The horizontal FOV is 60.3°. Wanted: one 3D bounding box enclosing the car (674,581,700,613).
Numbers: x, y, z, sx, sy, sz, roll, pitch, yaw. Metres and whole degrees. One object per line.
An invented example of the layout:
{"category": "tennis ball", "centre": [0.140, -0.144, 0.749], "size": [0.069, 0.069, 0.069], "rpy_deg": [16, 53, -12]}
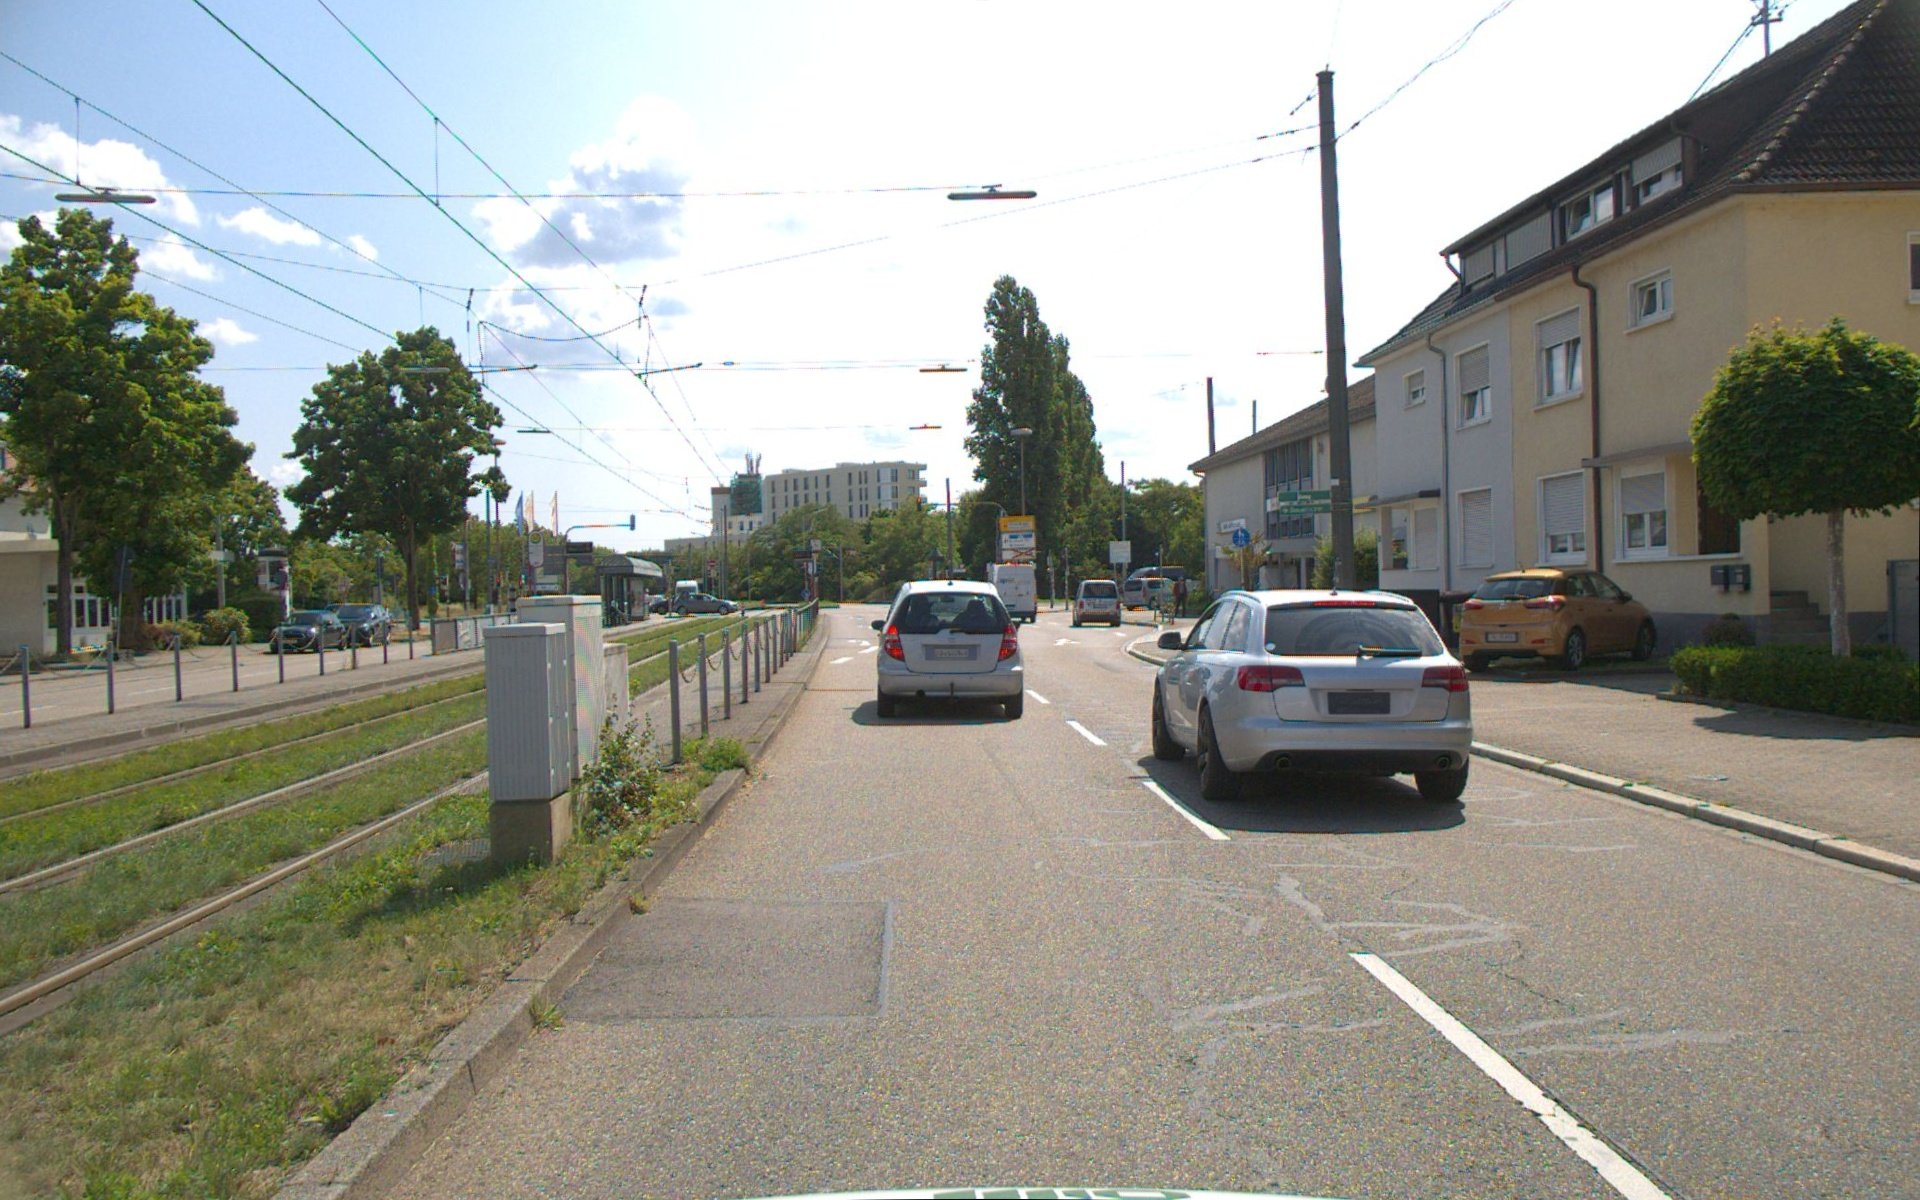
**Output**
{"category": "car", "centre": [-23.315, -0.274, 141.457], "size": [1.955, 2.651, 4.871], "rpy_deg": [1, 0, -7]}

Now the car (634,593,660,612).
{"category": "car", "centre": [-25.794, 0.225, 136.403], "size": [1.861, 1.568, 3.722], "rpy_deg": [1, 0, -8]}

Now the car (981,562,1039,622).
{"category": "car", "centre": [2.225, -0.341, 74.745], "size": [2.001, 2.602, 5.226], "rpy_deg": [-1, 0, -5]}

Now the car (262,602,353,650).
{"category": "car", "centre": [-22.874, 0.881, 58.113], "size": [1.750, 1.612, 3.928], "rpy_deg": [-1, 0, -3]}

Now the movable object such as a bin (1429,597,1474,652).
{"category": "movable object such as a bin", "centre": [9.508, 0.468, 32.013], "size": [0.625, 1.066, 0.684], "rpy_deg": [0, 0, -5]}

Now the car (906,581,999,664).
{"category": "car", "centre": [-0.181, 0.401, 32.545], "size": [1.703, 1.518, 4.628], "rpy_deg": [0, 0, -1]}

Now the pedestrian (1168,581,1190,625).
{"category": "pedestrian", "centre": [9.287, 0.122, 70.133], "size": [0.707, 1.814, 0.702], "rpy_deg": [-3, 0, -2]}

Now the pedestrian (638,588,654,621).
{"category": "pedestrian", "centre": [-17.705, 0.246, 93.238], "size": [0.795, 1.826, 0.705], "rpy_deg": [-1, 0, -18]}

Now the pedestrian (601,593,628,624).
{"category": "pedestrian", "centre": [-15.628, 0.386, 74.837], "size": [1.038, 1.400, 0.859], "rpy_deg": [1, -1, -5]}

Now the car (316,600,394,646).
{"category": "car", "centre": [-23.461, 0.855, 64.314], "size": [2.023, 1.642, 4.742], "rpy_deg": [-1, 0, -10]}

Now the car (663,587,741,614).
{"category": "car", "centre": [-16.827, 0.051, 108.038], "size": [4.764, 1.689, 1.999], "rpy_deg": [1, 0, -2]}

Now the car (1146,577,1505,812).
{"category": "car", "centre": [2.624, 0.607, 12.981], "size": [1.816, 1.518, 4.535], "rpy_deg": [0, 0, 0]}

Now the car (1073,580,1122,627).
{"category": "car", "centre": [5.423, 0.127, 65.180], "size": [1.845, 1.761, 4.097], "rpy_deg": [-1, 0, 5]}

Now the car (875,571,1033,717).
{"category": "car", "centre": [-0.125, 0.488, 20.748], "size": [1.751, 1.604, 4.093], "rpy_deg": [1, 0, -2]}

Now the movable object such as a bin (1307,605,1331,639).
{"category": "movable object such as a bin", "centre": [9.659, 0.586, 44.498], "size": [0.436, 0.911, 0.545], "rpy_deg": [-1, 0, -9]}

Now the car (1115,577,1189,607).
{"category": "car", "centre": [11.109, -0.445, 95.710], "size": [4.046, 1.665, 1.868], "rpy_deg": [1, -1, -35]}

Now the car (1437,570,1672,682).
{"category": "car", "centre": [9.249, 0.342, 25.591], "size": [1.884, 1.483, 4.064], "rpy_deg": [0, 2, 45]}
